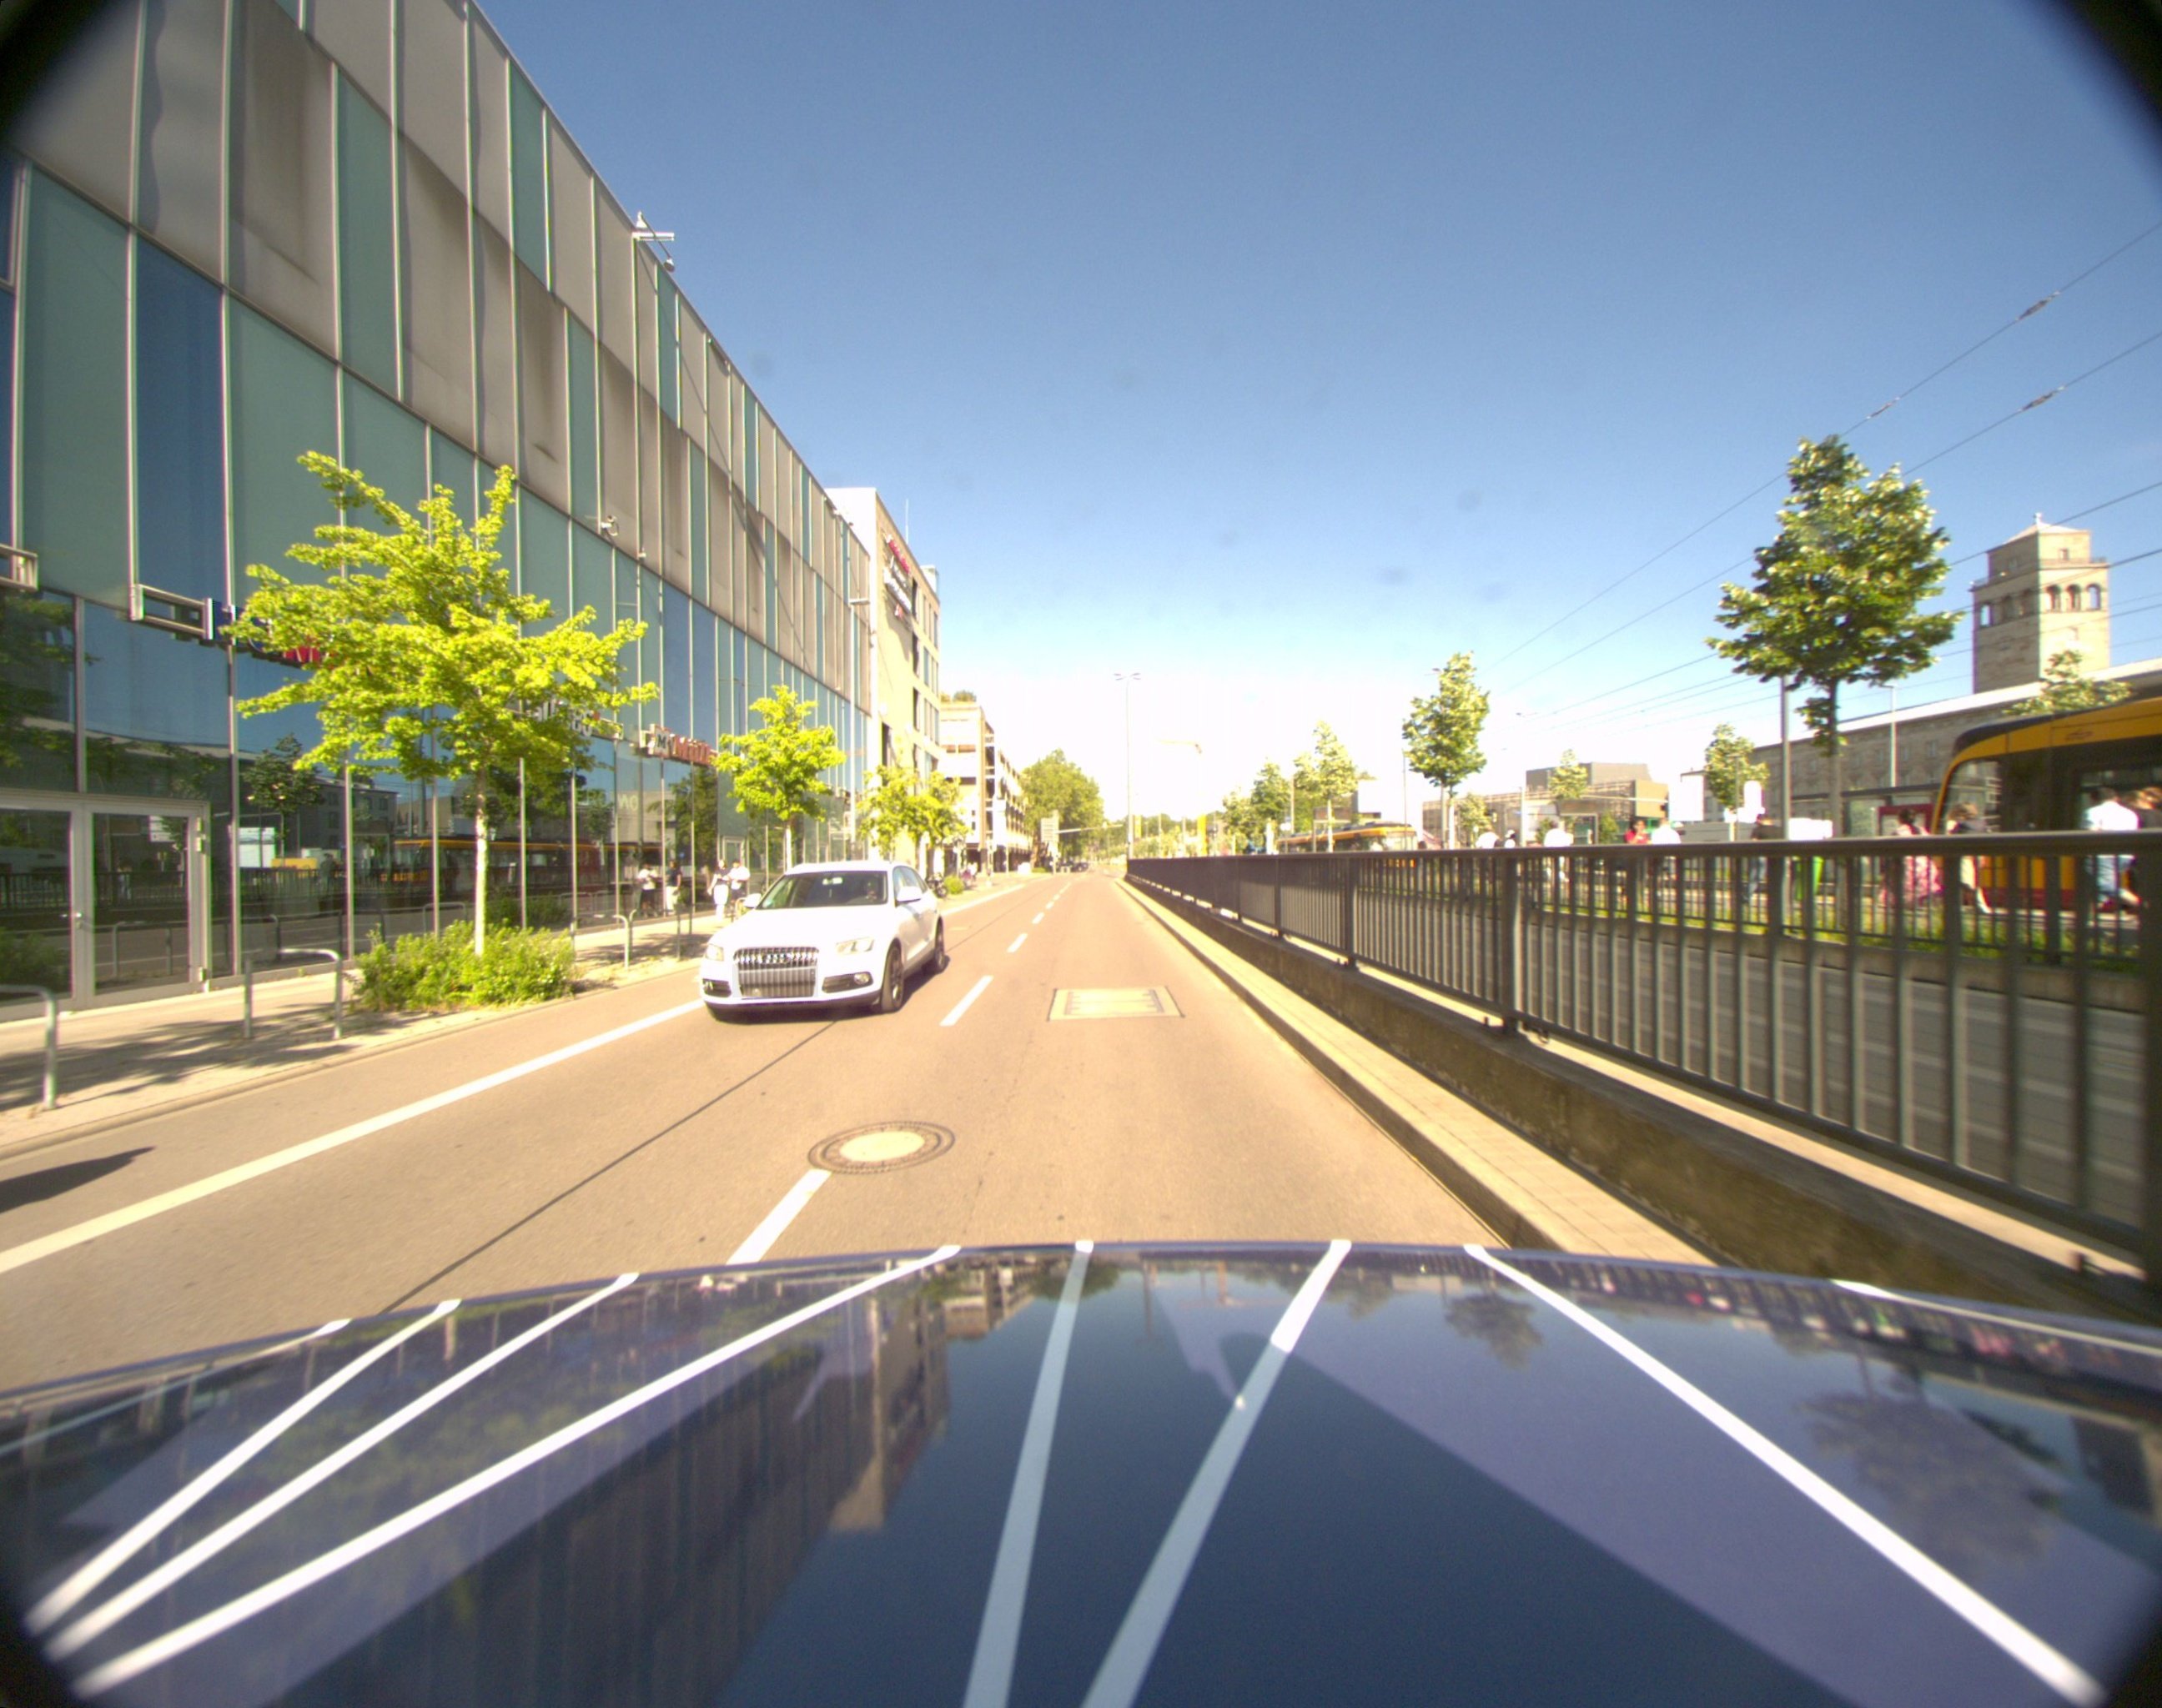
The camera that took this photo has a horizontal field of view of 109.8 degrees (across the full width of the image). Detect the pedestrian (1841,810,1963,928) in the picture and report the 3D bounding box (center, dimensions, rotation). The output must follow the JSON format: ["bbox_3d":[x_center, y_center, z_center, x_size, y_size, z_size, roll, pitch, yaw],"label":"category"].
[{"bbox_3d":[11.898,0.211,11.048,0.743,1.619,0.947,-1,0,2],"label":"pedestrian"}]

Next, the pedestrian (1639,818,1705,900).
[{"bbox_3d":[12.606,0.106,16.236,0.743,1.684,0.861,-1,0,2],"label":"pedestrian"}]

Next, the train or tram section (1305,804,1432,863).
[{"bbox_3d":[19.307,-1.187,52.782,2.855,3.302,15.966,-4,0,1],"label":"train or tram section"}]

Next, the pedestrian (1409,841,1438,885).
[{"bbox_3d":[11.998,0.308,26.630,0.649,1.503,0.588,-3,0,-2],"label":"pedestrian"}]

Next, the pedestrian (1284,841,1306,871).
[{"bbox_3d":[12.694,0.123,45.095,0.876,1.764,1.189,-3,-1,-2],"label":"pedestrian"}]

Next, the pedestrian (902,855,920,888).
[{"bbox_3d":[-9.325,0.938,41.741,0.729,1.791,1.066,1,0,1],"label":"pedestrian"}]

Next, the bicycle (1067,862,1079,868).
[{"bbox_3d":[-1.249,1.779,121.219,1.848,0.954,0.711,1,0,-3],"label":"bicycle"}]

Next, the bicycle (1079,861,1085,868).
[{"bbox_3d":[0.232,1.694,121.384,0.845,1.123,2.553,-1,0,2],"label":"bicycle"}]

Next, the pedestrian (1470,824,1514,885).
[{"bbox_3d":[12.437,0.020,22.998,0.771,1.800,1.031,-1,0,0],"label":"pedestrian"}]

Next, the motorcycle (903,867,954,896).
[{"bbox_3d":[-7.190,1.285,35.982,2.193,1.316,0.903,0,0,5],"label":"motorcycle"}]

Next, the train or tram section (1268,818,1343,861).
[{"bbox_3d":[19.580,-1.142,67.294,2.877,3.290,13.073,-3,0,1],"label":"train or tram section"}]

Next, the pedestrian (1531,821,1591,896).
[{"bbox_3d":[12.138,0.118,19.238,0.889,1.840,1.007,-1,0,1],"label":"pedestrian"}]

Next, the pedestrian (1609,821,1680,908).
[{"bbox_3d":[10.888,0.192,14.710,0.743,1.619,0.861,-1,0,2],"label":"pedestrian"}]

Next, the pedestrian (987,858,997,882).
[{"bbox_3d":[-6.474,1.169,55.254,0.658,1.692,0.698,2,0,-1],"label":"pedestrian"}]

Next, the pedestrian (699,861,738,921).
[{"bbox_3d":[-10.283,1.030,21.575,0.708,1.648,0.900,1,0,-3],"label":"pedestrian"}]

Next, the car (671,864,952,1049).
[{"bbox_3d":[-2.864,0.979,9.232,1.824,1.604,4.412,-2,0,0],"label":"car"}]

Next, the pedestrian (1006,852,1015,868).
[{"bbox_3d":[-9.133,0.782,98.515,0.950,2.002,1.078,-1,0,-10],"label":"pedestrian"}]

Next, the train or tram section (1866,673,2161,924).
[{"bbox_3d":[15.438,-0.790,6.002,2.877,3.260,15.186,-3,0,1],"label":"train or tram section"}]

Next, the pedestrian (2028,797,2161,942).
[{"bbox_3d":[12.078,0.174,8.958,0.743,1.619,0.861,-1,0,2],"label":"pedestrian"}]

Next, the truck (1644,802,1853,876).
[{"bbox_3d":[30.597,-0.620,35.431,2.725,2.952,7.954,-3,0,1],"label":"truck"}]

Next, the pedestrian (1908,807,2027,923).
[{"bbox_3d":[13.006,0.158,11.177,0.743,1.619,0.861,-1,0,2],"label":"pedestrian"}]

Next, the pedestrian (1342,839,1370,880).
[{"bbox_3d":[12.069,0.254,33.379,0.793,1.764,0.979,-3,0,-2],"label":"pedestrian"}]

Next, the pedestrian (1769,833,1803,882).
[{"bbox_3d":[23.016,0.107,24.808,0.532,1.583,0.591,-1,1,-1],"label":"pedestrian"}]

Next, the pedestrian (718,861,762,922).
[{"bbox_3d":[-9.464,1.022,21.109,0.823,1.648,0.900,0,0,-3],"label":"pedestrian"}]

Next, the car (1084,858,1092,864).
[{"bbox_3d":[1.983,1.939,216.210,1.999,1.597,3.896,-1,0,0],"label":"car"}]

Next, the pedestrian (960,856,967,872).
[{"bbox_3d":[-11.724,1.003,75.637,0.662,1.603,0.526,1,0,-7],"label":"pedestrian"}]

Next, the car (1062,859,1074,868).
[{"bbox_3d":[-2.203,1.610,129.381,1.752,1.481,4.560,0,0,1],"label":"car"}]

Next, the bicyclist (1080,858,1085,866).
[{"bbox_3d":[0.233,1.270,121.386,0.830,1.380,0.904,-1,0,2],"label":"bicyclist"}]

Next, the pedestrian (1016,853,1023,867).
[{"bbox_3d":[-8.736,0.864,108.423,0.949,2.002,1.079,-1,0,-6],"label":"pedestrian"}]

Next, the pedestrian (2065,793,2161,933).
[{"bbox_3d":[12.876,0.098,9.221,0.743,1.619,0.861,-1,0,3],"label":"pedestrian"}]

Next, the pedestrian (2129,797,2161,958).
[{"bbox_3d":[11.255,0.230,7.455,0.743,1.619,0.861,-1,0,2],"label":"pedestrian"}]

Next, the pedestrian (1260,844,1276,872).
[{"bbox_3d":[11.843,0.273,48.190,0.705,1.764,0.959,-3,0,-2],"label":"pedestrian"}]

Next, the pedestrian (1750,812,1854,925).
[{"bbox_3d":[10.796,0.211,11.403,0.743,1.619,0.861,-1,0,2],"label":"pedestrian"}]

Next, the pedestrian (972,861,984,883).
[{"bbox_3d":[-7.341,1.269,54.063,0.725,1.598,0.750,-1,-1,2],"label":"pedestrian"}]

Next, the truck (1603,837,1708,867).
[{"bbox_3d":[56.304,-0.219,74.625,8.023,2.776,2.464,-1,0,7],"label":"truck"}]

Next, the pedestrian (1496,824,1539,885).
[{"bbox_3d":[13.196,0.017,22.987,0.673,1.800,1.075,-1,0,0],"label":"pedestrian"}]

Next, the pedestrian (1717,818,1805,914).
[{"bbox_3d":[11.828,0.203,13.243,0.743,1.619,0.861,-1,0,2],"label":"pedestrian"}]

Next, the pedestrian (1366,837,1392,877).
[{"bbox_3d":[13.557,0.148,34.598,0.763,1.764,0.826,-3,0,-2],"label":"pedestrian"}]
